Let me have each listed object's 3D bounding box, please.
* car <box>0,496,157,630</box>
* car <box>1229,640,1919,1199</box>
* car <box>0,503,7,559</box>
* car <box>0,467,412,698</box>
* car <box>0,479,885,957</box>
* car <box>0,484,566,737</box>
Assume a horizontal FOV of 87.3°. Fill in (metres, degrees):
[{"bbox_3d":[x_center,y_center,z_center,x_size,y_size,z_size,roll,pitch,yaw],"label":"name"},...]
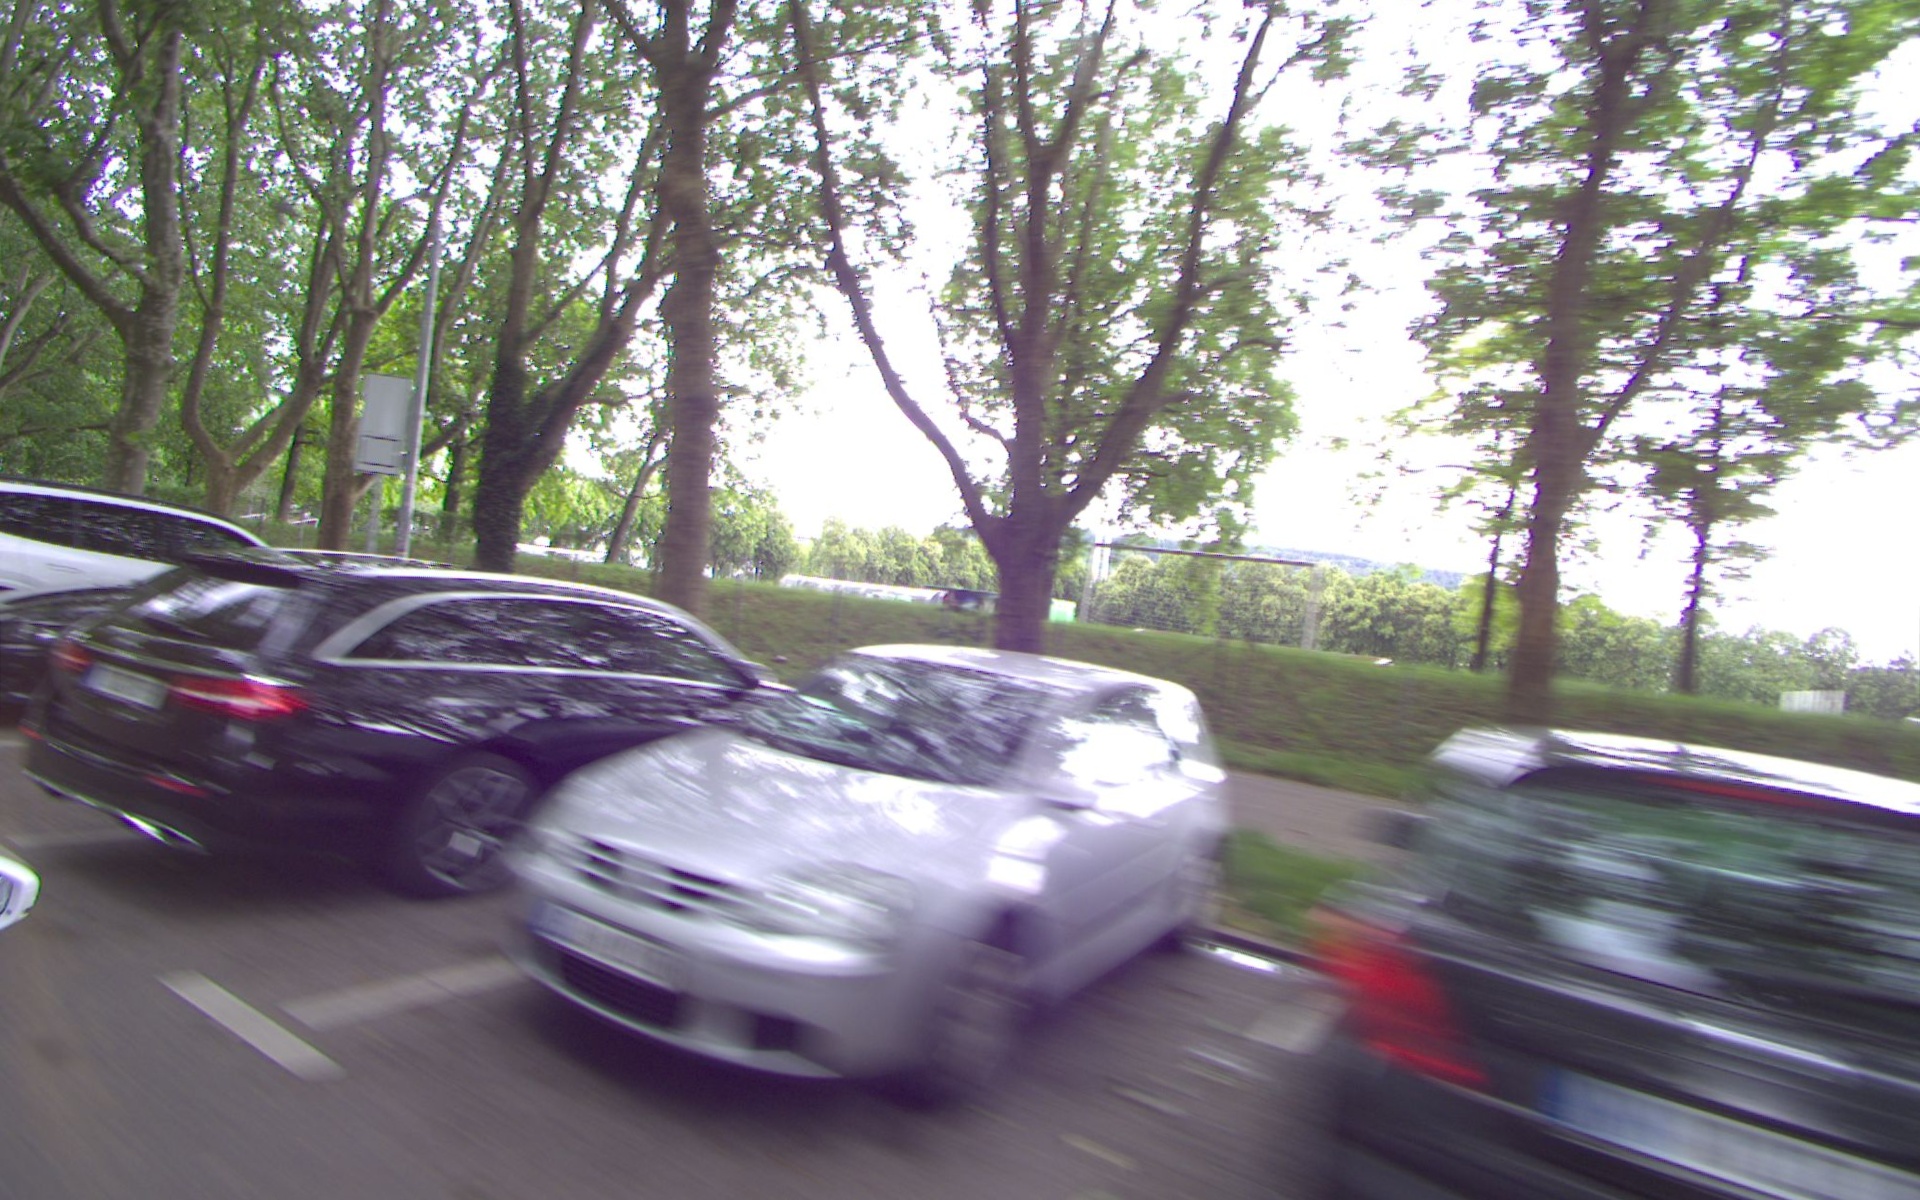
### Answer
[{"bbox_3d":[-12.432,-0.622,12.020,1.665,1.503,3.997,7,-2,29],"label":"car"},{"bbox_3d":[2.342,1.141,3.416,1.784,1.543,4.055,7,-2,29],"label":"car"},{"bbox_3d":[-16.680,-1.073,14.530,1.665,1.404,3.836,7,-2,29],"label":"car"},{"bbox_3d":[-7.827,-0.135,9.338,1.770,1.775,4.396,7,-2,29],"label":"car"},{"bbox_3d":[-2.441,0.555,5.727,1.674,1.543,4.514,7,-2,29],"label":"car"},{"bbox_3d":[-5.711,0.187,8.498,1.671,1.575,4.196,7,-2,29],"label":"car"}]
